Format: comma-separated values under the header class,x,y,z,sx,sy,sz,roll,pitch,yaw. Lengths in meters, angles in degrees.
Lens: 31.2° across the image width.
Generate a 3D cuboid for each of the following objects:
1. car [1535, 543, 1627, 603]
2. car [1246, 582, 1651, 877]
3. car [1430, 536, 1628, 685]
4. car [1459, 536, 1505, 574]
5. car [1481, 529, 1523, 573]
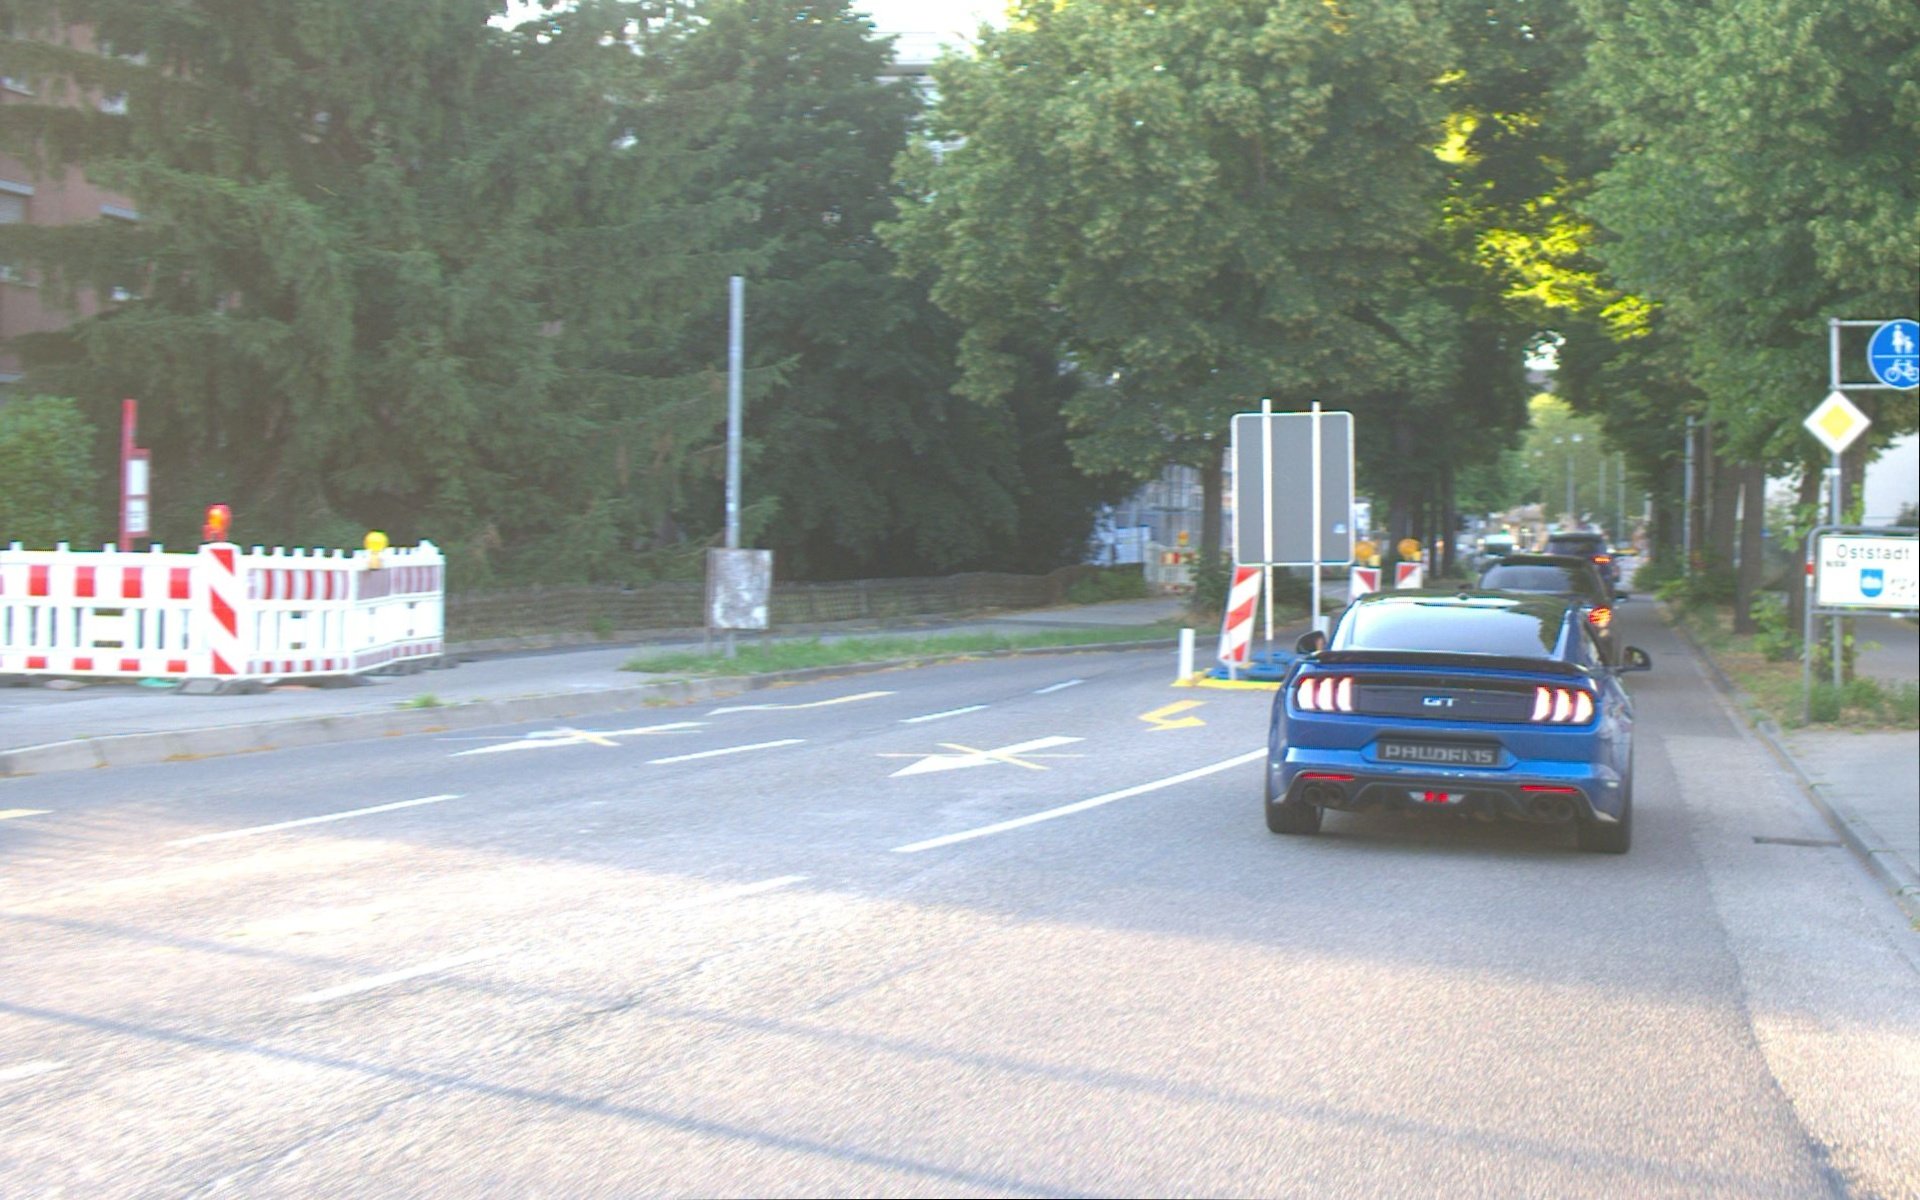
class,x,y,z,sx,sy,sz,roll,pitch,yaw
car,14.968,-0.668,82.766,1.948,1.322,3.998,3,1,12
car,2.801,0.631,19.181,1.948,1.322,3.998,3,1,10
car,6.560,0.082,39.352,1.948,1.522,3.998,3,1,12
car,31.275,-2.689,205.752,2.337,2.190,5.306,1,1,12
car,34.258,-3.077,217.136,2.493,2.687,5.828,1,1,10
